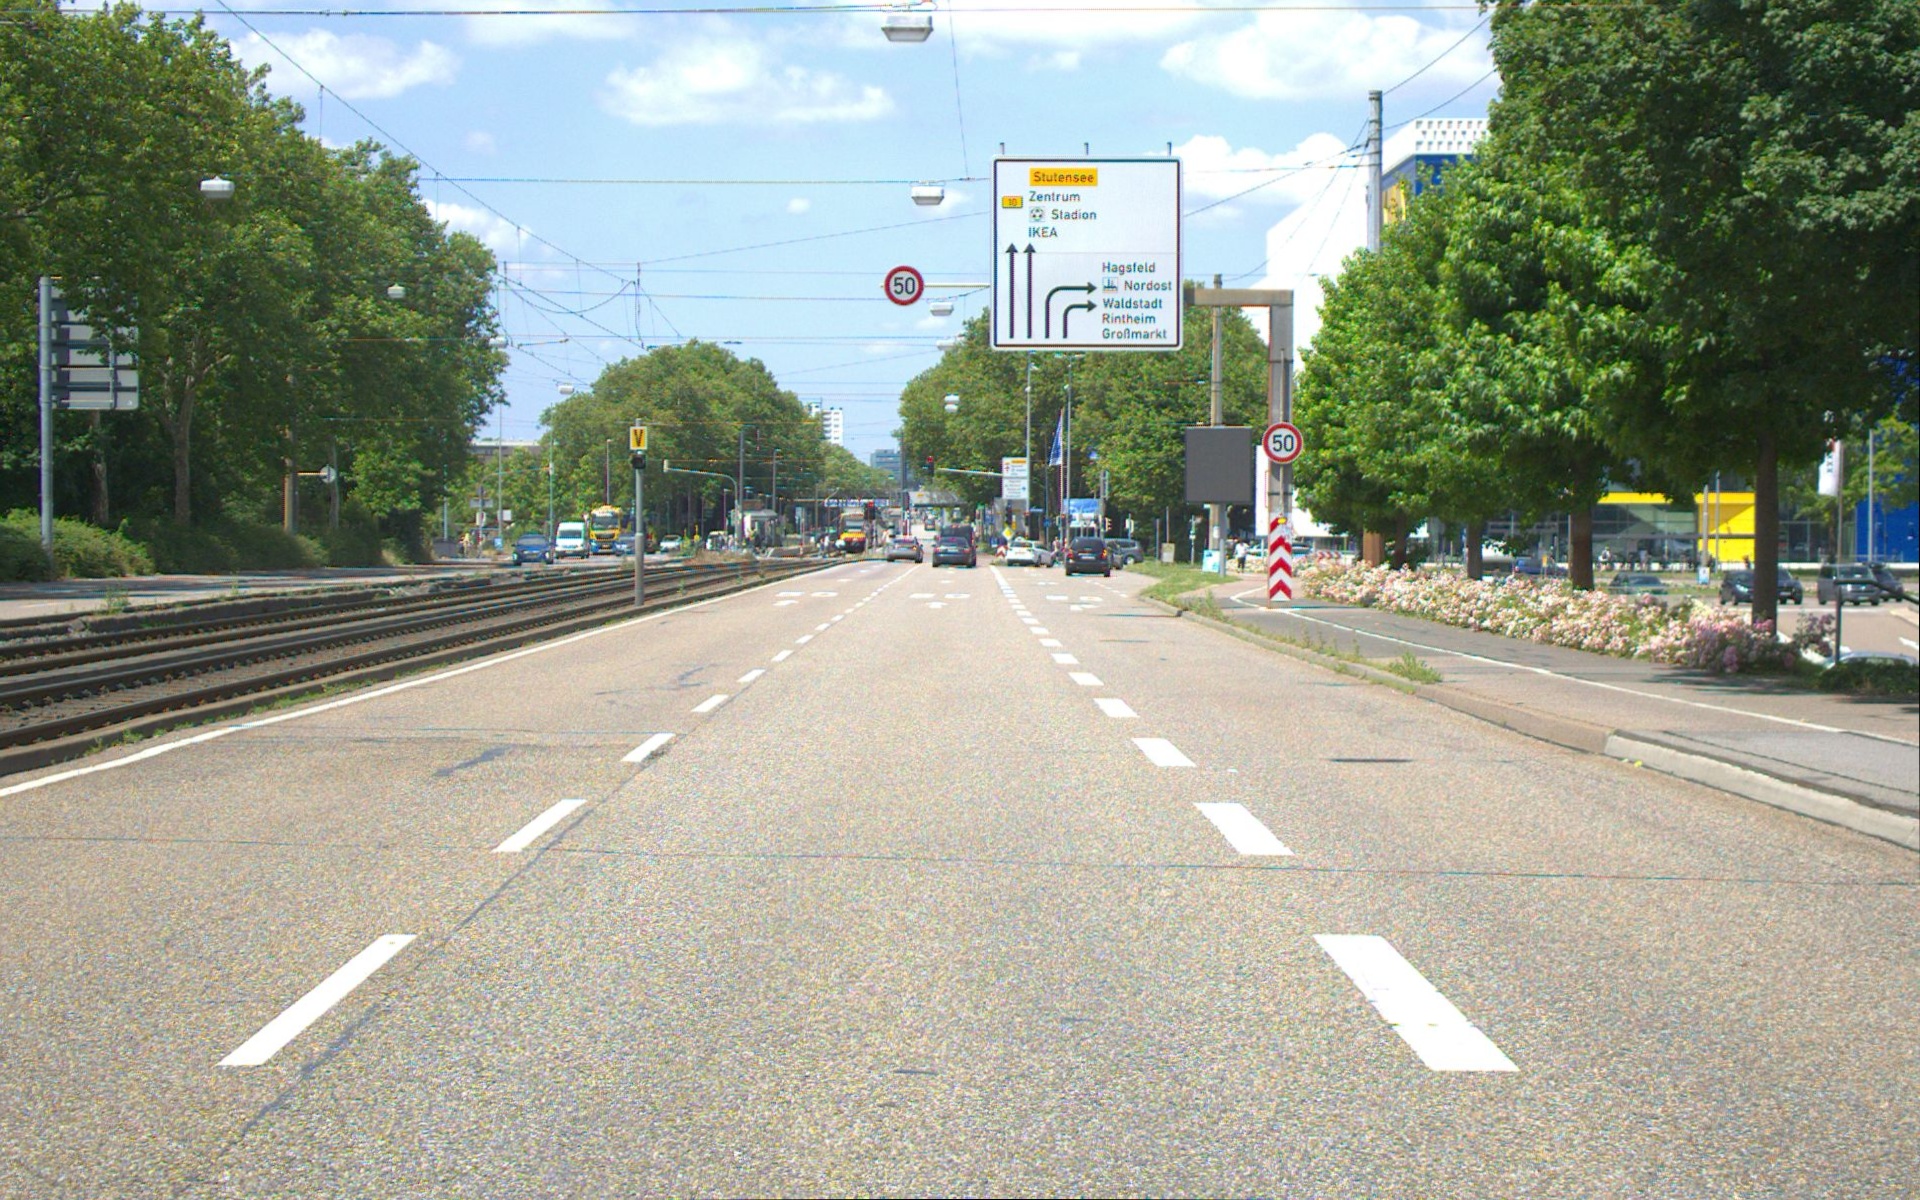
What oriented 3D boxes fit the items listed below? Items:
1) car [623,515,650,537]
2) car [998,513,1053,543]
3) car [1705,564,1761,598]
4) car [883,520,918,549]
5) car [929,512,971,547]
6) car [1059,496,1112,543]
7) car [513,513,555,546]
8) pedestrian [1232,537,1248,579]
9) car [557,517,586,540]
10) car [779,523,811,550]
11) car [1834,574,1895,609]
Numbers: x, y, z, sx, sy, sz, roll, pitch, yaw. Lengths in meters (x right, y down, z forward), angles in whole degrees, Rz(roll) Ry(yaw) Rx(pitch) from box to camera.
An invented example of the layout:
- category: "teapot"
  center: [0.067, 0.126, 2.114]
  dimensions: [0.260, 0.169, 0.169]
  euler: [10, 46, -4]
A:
- category: "car"
  center: [-24.014, -5.457, 255.041]
  dimensions: [1.623, 1.544, 3.704]
  euler: [2, 1, 0]
- category: "car"
  center: [3.645, -3.988, 191.949]
  dimensions: [1.687, 1.544, 3.979]
  euler: [3, 1, 22]
- category: "car"
  center: [35.967, -0.914, 159.972]
  dimensions: [1.571, 1.477, 3.889]
  euler: [2, 1, -2]
- category: "car"
  center: [-3.366, -3.702, 193.140]
  dimensions: [1.842, 1.544, 3.777]
  euler: [2, 1, -2]
- category: "car"
  center: [-0.475, -3.264, 160.231]
  dimensions: [1.876, 1.534, 3.777]
  euler: [2, 1, -1]
- category: "car"
  center: [5.047, -3.235, 138.419]
  dimensions: [1.899, 1.799, 3.977]
  euler: [2, 1, 0]
- category: "car"
  center: [-20.907, -3.473, 168.894]
  dimensions: [1.644, 1.545, 4.217]
  euler: [2, 1, -2]
- category: "pedestrian"
  center: [12.149, -1.819, 149.249]
  dimensions: [0.580, 1.786, 0.590]
  euler: [2, 1, -2]
- category: "car"
  center: [-27.589, -5.080, 244.062]
  dimensions: [1.623, 1.544, 3.704]
  euler: [2, 1, 0]
- category: "car"
  center: [-10.118, -3.897, 210.809]
  dimensions: [1.842, 1.544, 3.777]
  euler: [2, 1, -1]
- category: "car"
  center: [41.135, -0.383, 156.436]
  dimensions: [1.571, 1.477, 3.889]
  euler: [2, 1, -2]
